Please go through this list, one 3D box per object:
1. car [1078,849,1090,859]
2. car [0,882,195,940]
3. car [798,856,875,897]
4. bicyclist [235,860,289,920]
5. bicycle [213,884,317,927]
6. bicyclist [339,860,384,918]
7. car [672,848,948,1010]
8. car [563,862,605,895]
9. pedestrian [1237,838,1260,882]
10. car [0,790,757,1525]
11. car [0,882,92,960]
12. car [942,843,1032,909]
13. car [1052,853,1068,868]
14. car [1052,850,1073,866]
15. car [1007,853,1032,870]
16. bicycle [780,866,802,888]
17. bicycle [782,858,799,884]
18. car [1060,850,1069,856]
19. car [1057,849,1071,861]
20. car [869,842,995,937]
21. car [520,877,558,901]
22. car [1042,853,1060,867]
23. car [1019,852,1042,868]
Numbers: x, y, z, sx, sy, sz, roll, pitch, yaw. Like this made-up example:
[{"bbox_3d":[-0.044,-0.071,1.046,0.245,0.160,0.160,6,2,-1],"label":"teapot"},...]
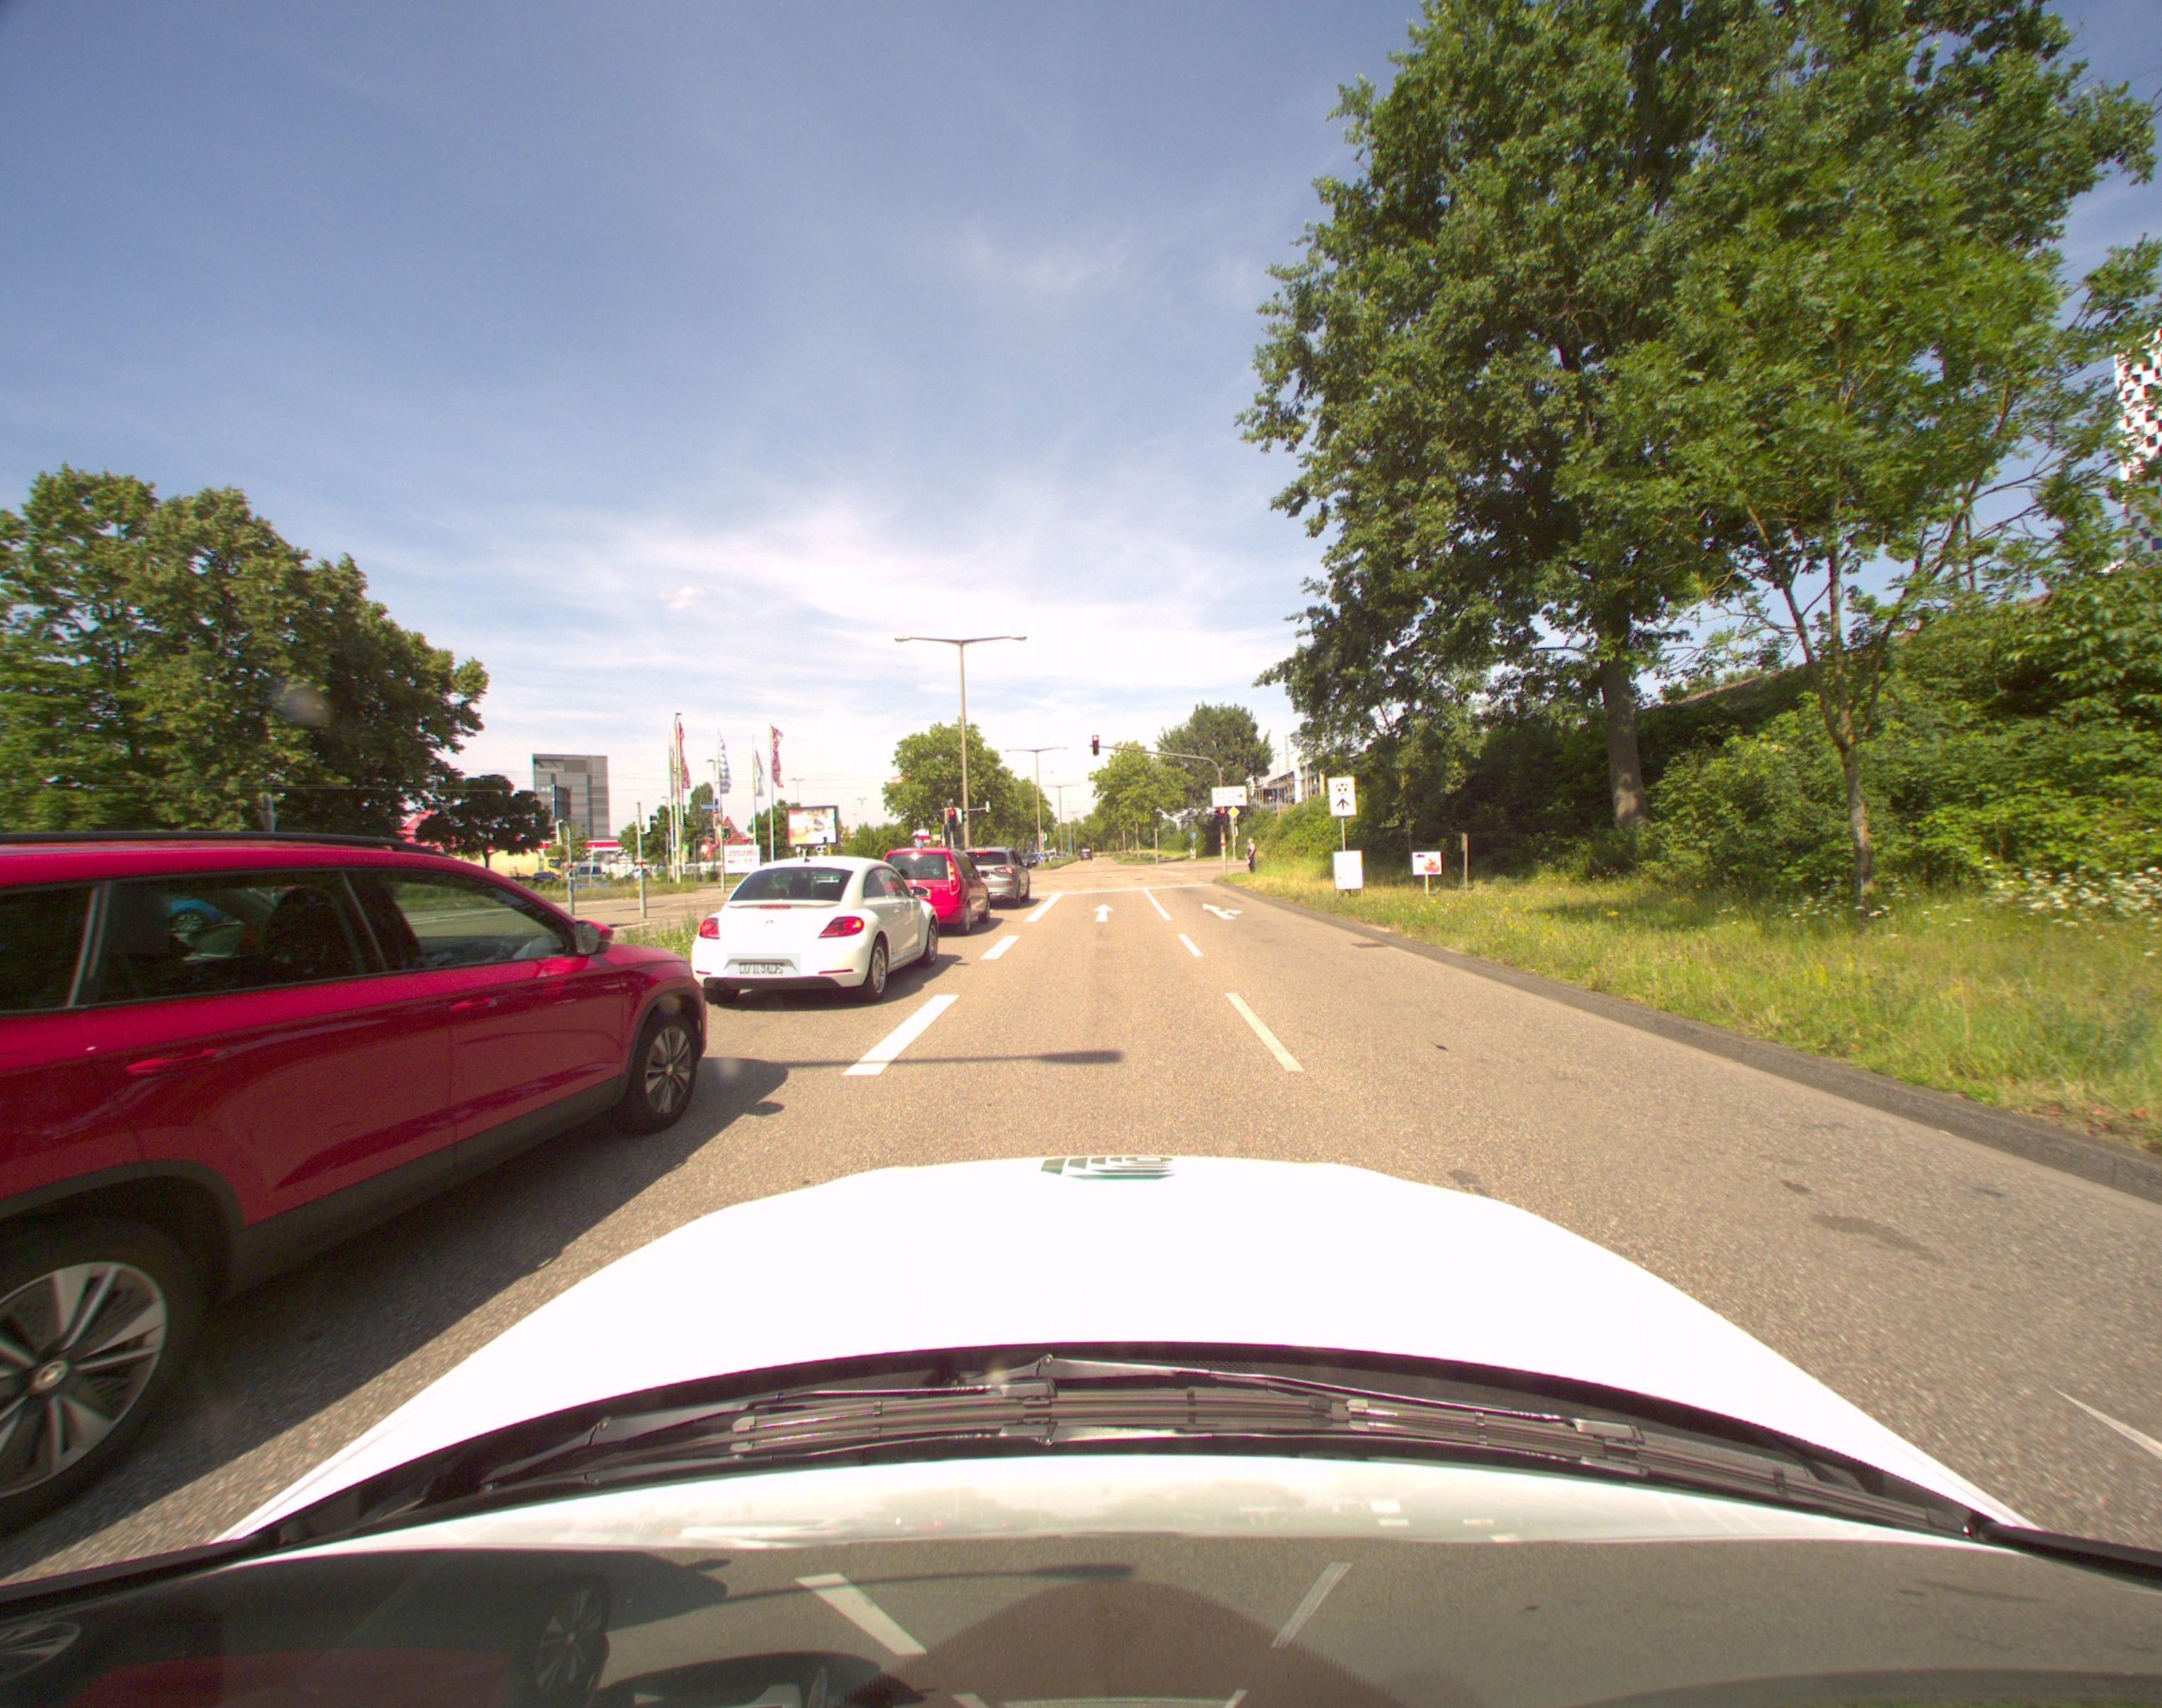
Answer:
[{"bbox_3d":[0.450,-0.011,132.518,1.730,1.535,4.003,-2,2,2],"label":"car"},{"bbox_3d":[-29.585,1.666,24.252,4.020,1.420,1.977,-2,0,-39],"label":"car"},{"bbox_3d":[-10.007,0.885,33.645,1.769,1.470,4.002,-4,0,2],"label":"car"},{"bbox_3d":[-24.119,1.040,23.994,0.904,1.646,0.780,-3,3,-34],"label":"bicyclist"},{"bbox_3d":[-24.029,1.502,24.050,2.019,1.039,0.737,-3,3,-35],"label":"bicycle"},{"bbox_3d":[-22.698,1.091,25.721,0.904,1.715,0.774,-3,3,-34],"label":"bicyclist"},{"bbox_3d":[-2.847,0.684,9.602,1.760,1.479,4.137,-1,0,1],"label":"car"},{"bbox_3d":[-40.828,2.038,66.871,2.011,2.532,4.583,-3,0,-42],"label":"car"},{"bbox_3d":[7.480,0.252,36.404,0.835,1.932,0.771,-2,2,-2],"label":"pedestrian"},{"bbox_3d":[-3.204,0.667,3.344,1.776,1.593,4.595,-1,0,1],"label":"car"},{"bbox_3d":[-21.822,1.343,16.319,3.949,1.388,1.776,-2,1,28],"label":"car"},{"bbox_3d":[-2.517,0.562,22.762,1.874,1.618,4.214,-2,0,1],"label":"car"},{"bbox_3d":[-2.899,0.905,113.829,1.986,1.895,4.376,-2,0,1],"label":"car"},{"bbox_3d":[-2.010,0.410,89.565,1.986,1.695,4.001,-2,0,1],"label":"car"},{"bbox_3d":[-5.767,0.697,77.185,1.912,1.513,4.001,-2,0,1],"label":"car"},{"bbox_3d":[-18.238,1.438,51.242,0.670,1.256,2.244,-3,0,-3],"label":"bicycle"},{"bbox_3d":[-18.273,1.053,51.223,0.670,1.615,0.991,-3,0,-4],"label":"bicycle"},{"bbox_3d":[-5.007,-0.406,252.286,1.869,1.694,4.388,-2,0,-14],"label":"car"},{"bbox_3d":[-2.653,0.145,129.699,1.986,1.895,4.377,-2,0,1],"label":"car"},{"bbox_3d":[-2.802,0.640,16.103,1.622,1.596,3.919,-2,-1,1],"label":"car"},{"bbox_3d":[-42.691,2.736,64.160,2.011,1.684,3.953,-3,0,-40],"label":"car"},{"bbox_3d":[-3.722,0.759,101.518,1.896,1.596,4.001,-2,0,1],"label":"car"},{"bbox_3d":[-5.276,0.612,85.174,1.986,1.500,4.001,-2,0,1],"label":"car"}]
